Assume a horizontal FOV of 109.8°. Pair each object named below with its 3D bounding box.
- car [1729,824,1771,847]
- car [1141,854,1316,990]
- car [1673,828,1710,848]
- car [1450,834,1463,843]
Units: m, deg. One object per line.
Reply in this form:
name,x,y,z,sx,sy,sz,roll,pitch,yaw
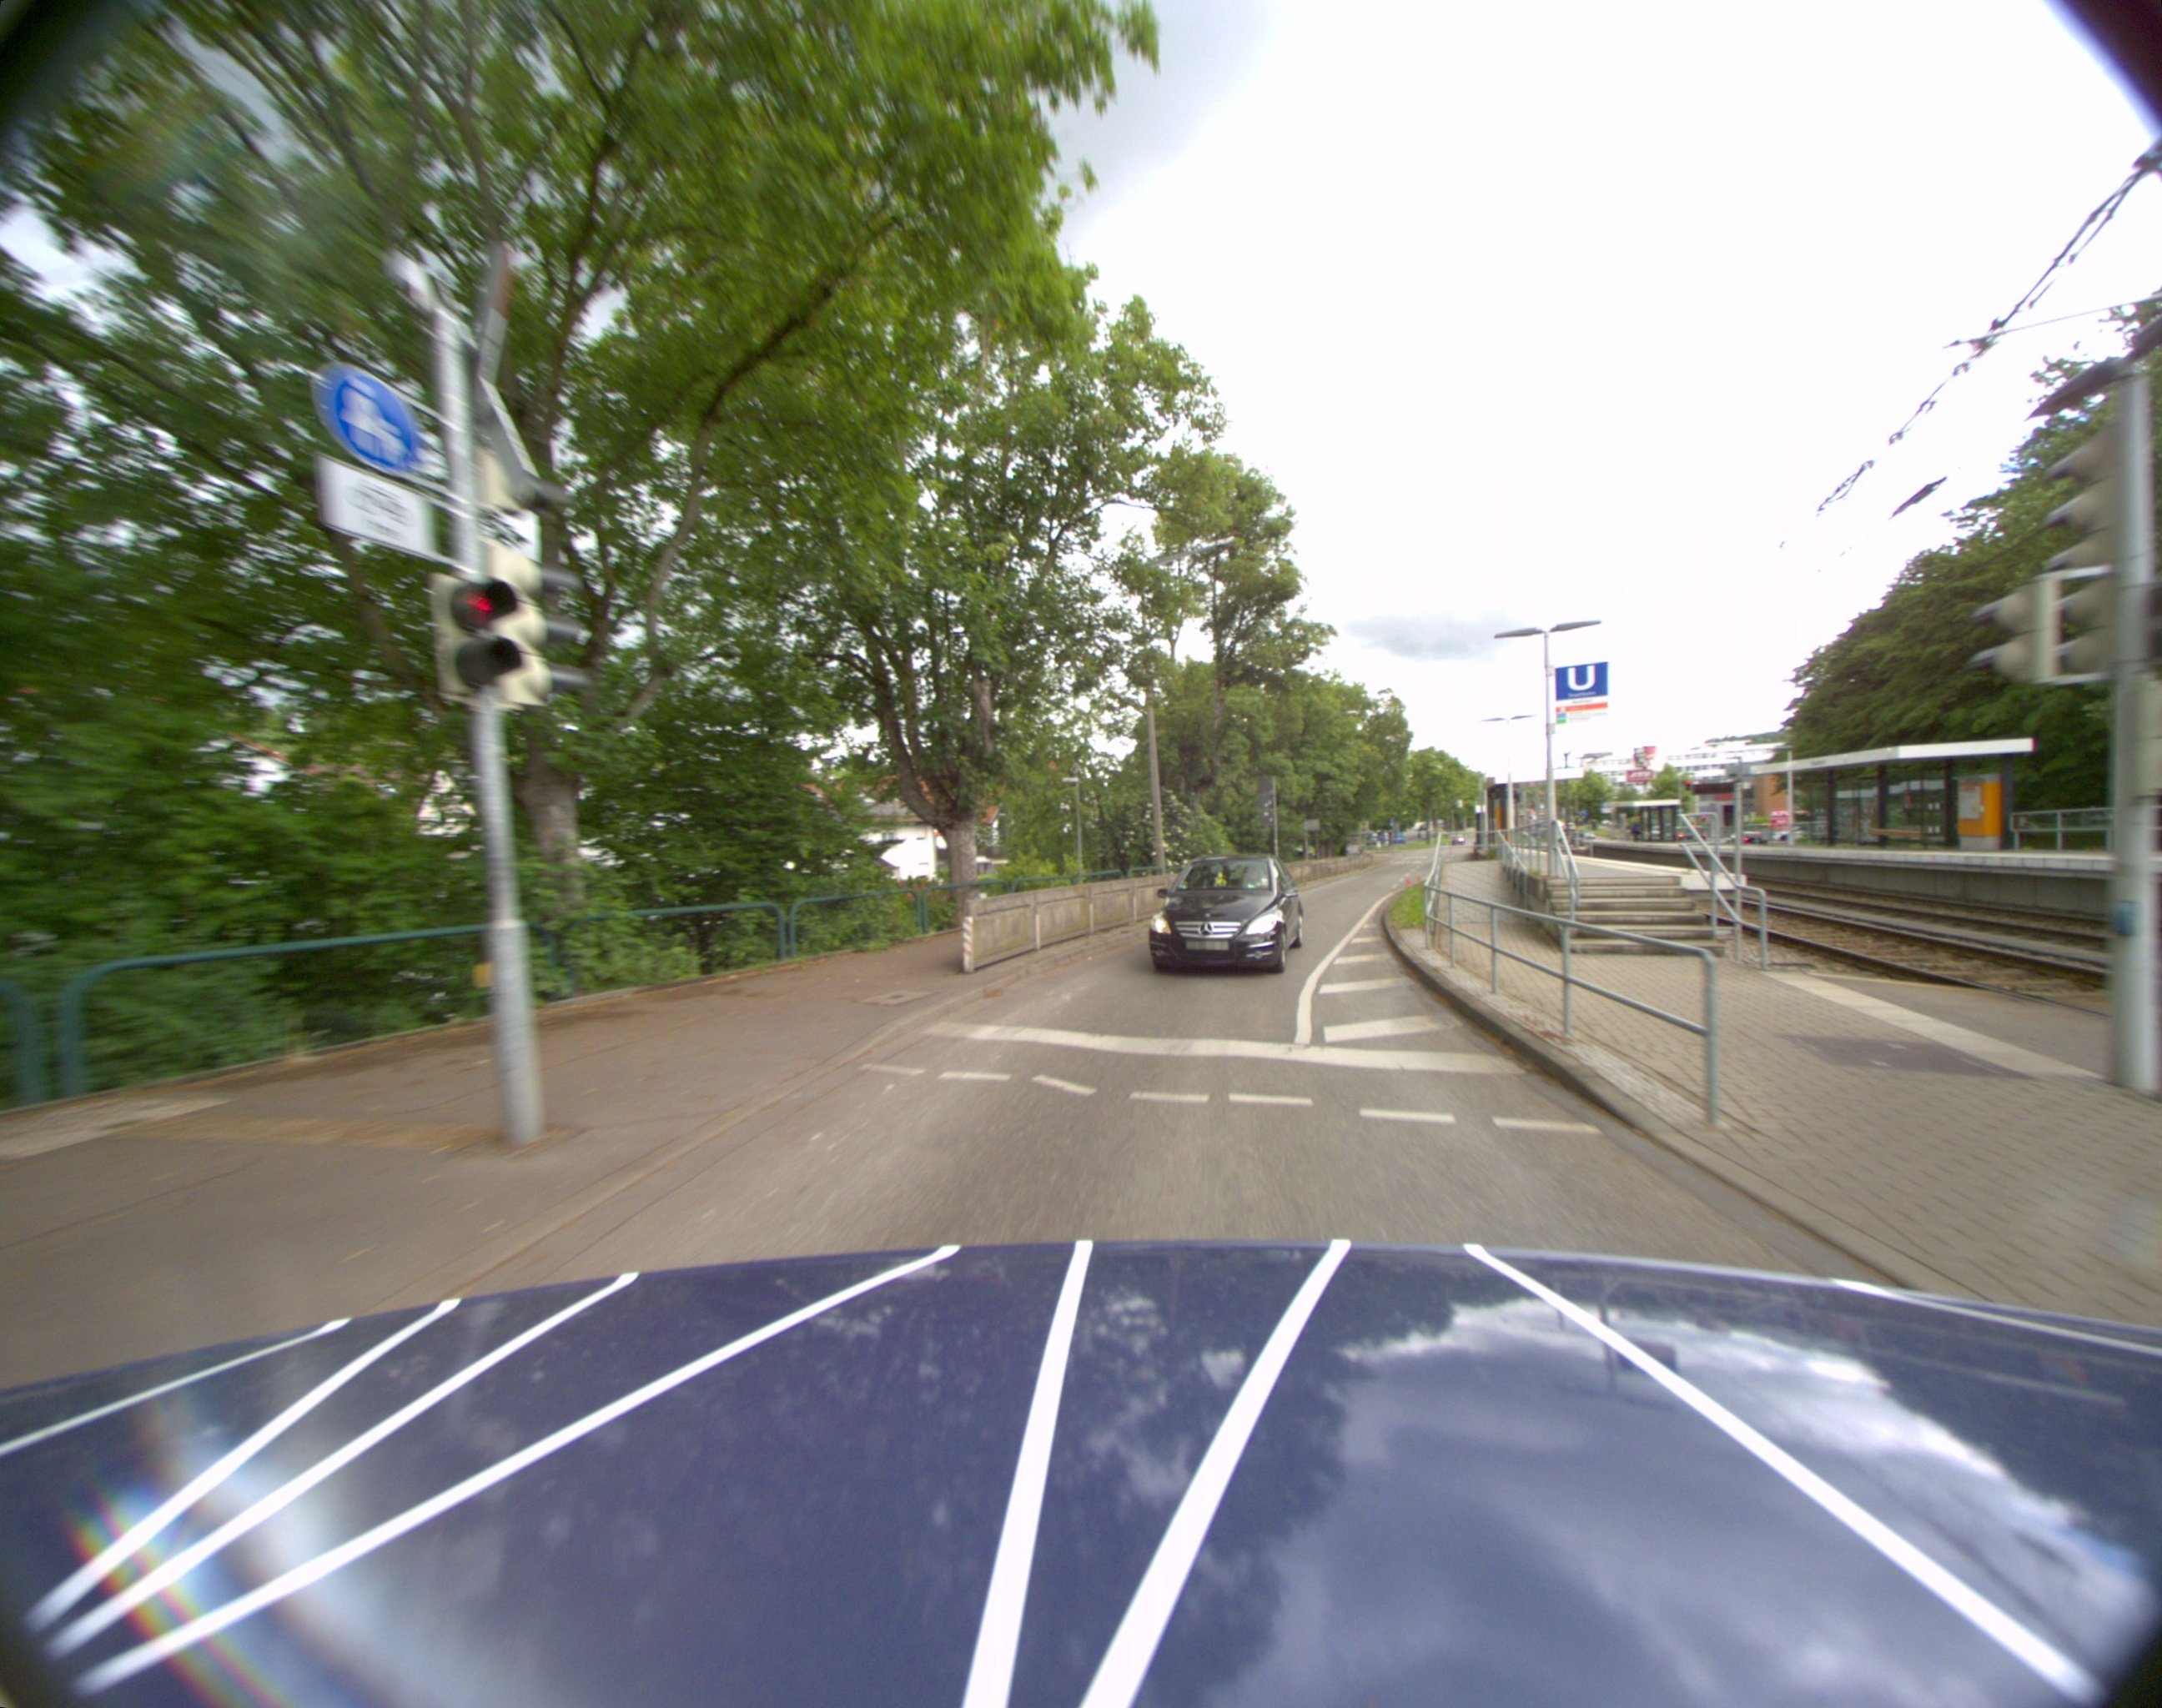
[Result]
car,54.620,-1.518,62.126,1.738,1.829,3.806,-1,1,28
car,2.432,0.827,11.507,1.709,1.574,4.449,-1,1,23
car,52.885,-1.394,65.886,1.767,1.689,3.800,-1,1,28
car,57.628,-2.349,116.740,1.713,1.277,3.579,-1,1,25
